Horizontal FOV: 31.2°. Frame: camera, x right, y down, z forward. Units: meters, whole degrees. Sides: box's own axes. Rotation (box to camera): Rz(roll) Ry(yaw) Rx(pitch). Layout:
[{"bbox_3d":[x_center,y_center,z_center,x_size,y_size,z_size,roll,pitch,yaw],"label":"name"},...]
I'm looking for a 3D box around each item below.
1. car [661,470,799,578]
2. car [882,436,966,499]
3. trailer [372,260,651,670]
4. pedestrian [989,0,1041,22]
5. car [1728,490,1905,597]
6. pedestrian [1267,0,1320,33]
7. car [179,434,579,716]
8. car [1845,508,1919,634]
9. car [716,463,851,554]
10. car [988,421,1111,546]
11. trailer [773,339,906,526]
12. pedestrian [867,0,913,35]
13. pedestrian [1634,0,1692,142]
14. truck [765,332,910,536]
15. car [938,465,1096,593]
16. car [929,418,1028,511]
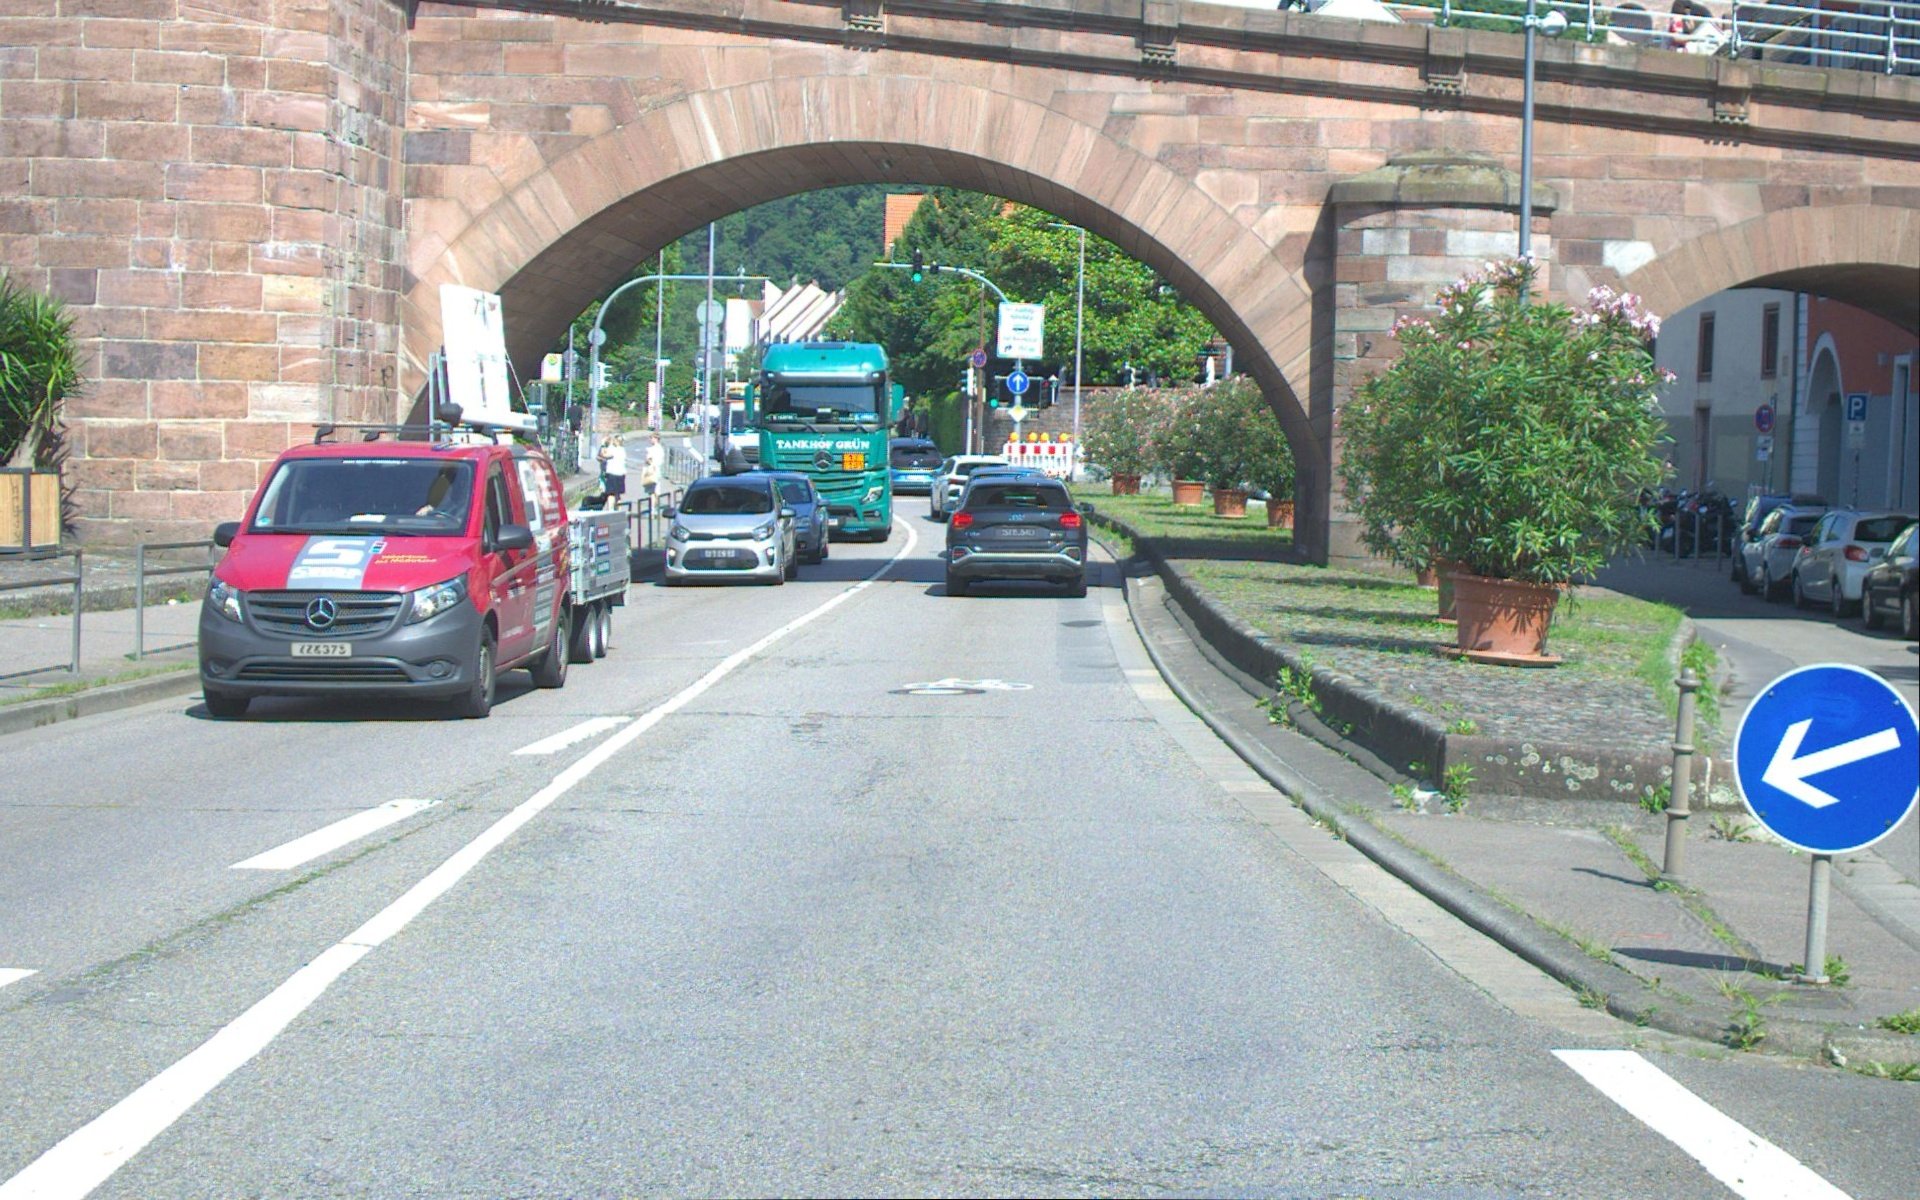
[{"bbox_3d":[-3.157,-1.083,47.804,1.535,1.431,3.728,0,2,2],"label":"car"},{"bbox_3d":[-1.027,-3.646,95.074,1.993,1.656,4.001,1,2,-5],"label":"car"},{"bbox_3d":[-3.780,-1.149,29.509,1.742,3.308,3.384,0,2,3],"label":"trailer"},{"bbox_3d":[0.753,-8.874,46.529,0.684,2.006,0.586,1,2,2],"label":"pedestrian"},{"bbox_3d":[13.016,-0.897,52.487,1.893,1.487,4.416,1,3,5],"label":"car"},{"bbox_3d":[4.199,-8.184,43.242,0.623,2.006,0.695,1,2,3],"label":"pedestrian"},{"bbox_3d":[-4.016,-0.256,24.552,1.874,1.821,4.544,0,2,3],"label":"car"},{"bbox_3d":[12.343,-0.378,42.775,1.776,1.431,4.492,1,2,4],"label":"car"},{"bbox_3d":[-2.843,-1.506,56.199,1.723,1.432,4.400,0,2,3],"label":"car"},{"bbox_3d":[1.516,-1.966,58.087,1.993,2.006,4.000,1,2,2],"label":"car"},{"bbox_3d":[-2.438,-3.585,72.737,2.523,3.631,11.533,0,3,-1],"label":"trailer"},{"bbox_3d":[-0.935,-8.667,46.321,0.581,2.006,0.586,1,2,2],"label":"pedestrian"},{"bbox_3d":[9.855,-7.465,48.215,0.684,2.006,0.586,1,2,2],"label":"pedestrian"},{"bbox_3d":[-2.296,-3.241,66.479,2.524,3.735,6.247,0,3,0],"label":"truck"},{"bbox_3d":[0.771,-0.946,44.148,1.857,1.518,4.000,1,3,3],"label":"car"},{"bbox_3d":[0.391,-3.023,76.956,1.993,2.006,4.001,1,2,-3],"label":"car"}]
